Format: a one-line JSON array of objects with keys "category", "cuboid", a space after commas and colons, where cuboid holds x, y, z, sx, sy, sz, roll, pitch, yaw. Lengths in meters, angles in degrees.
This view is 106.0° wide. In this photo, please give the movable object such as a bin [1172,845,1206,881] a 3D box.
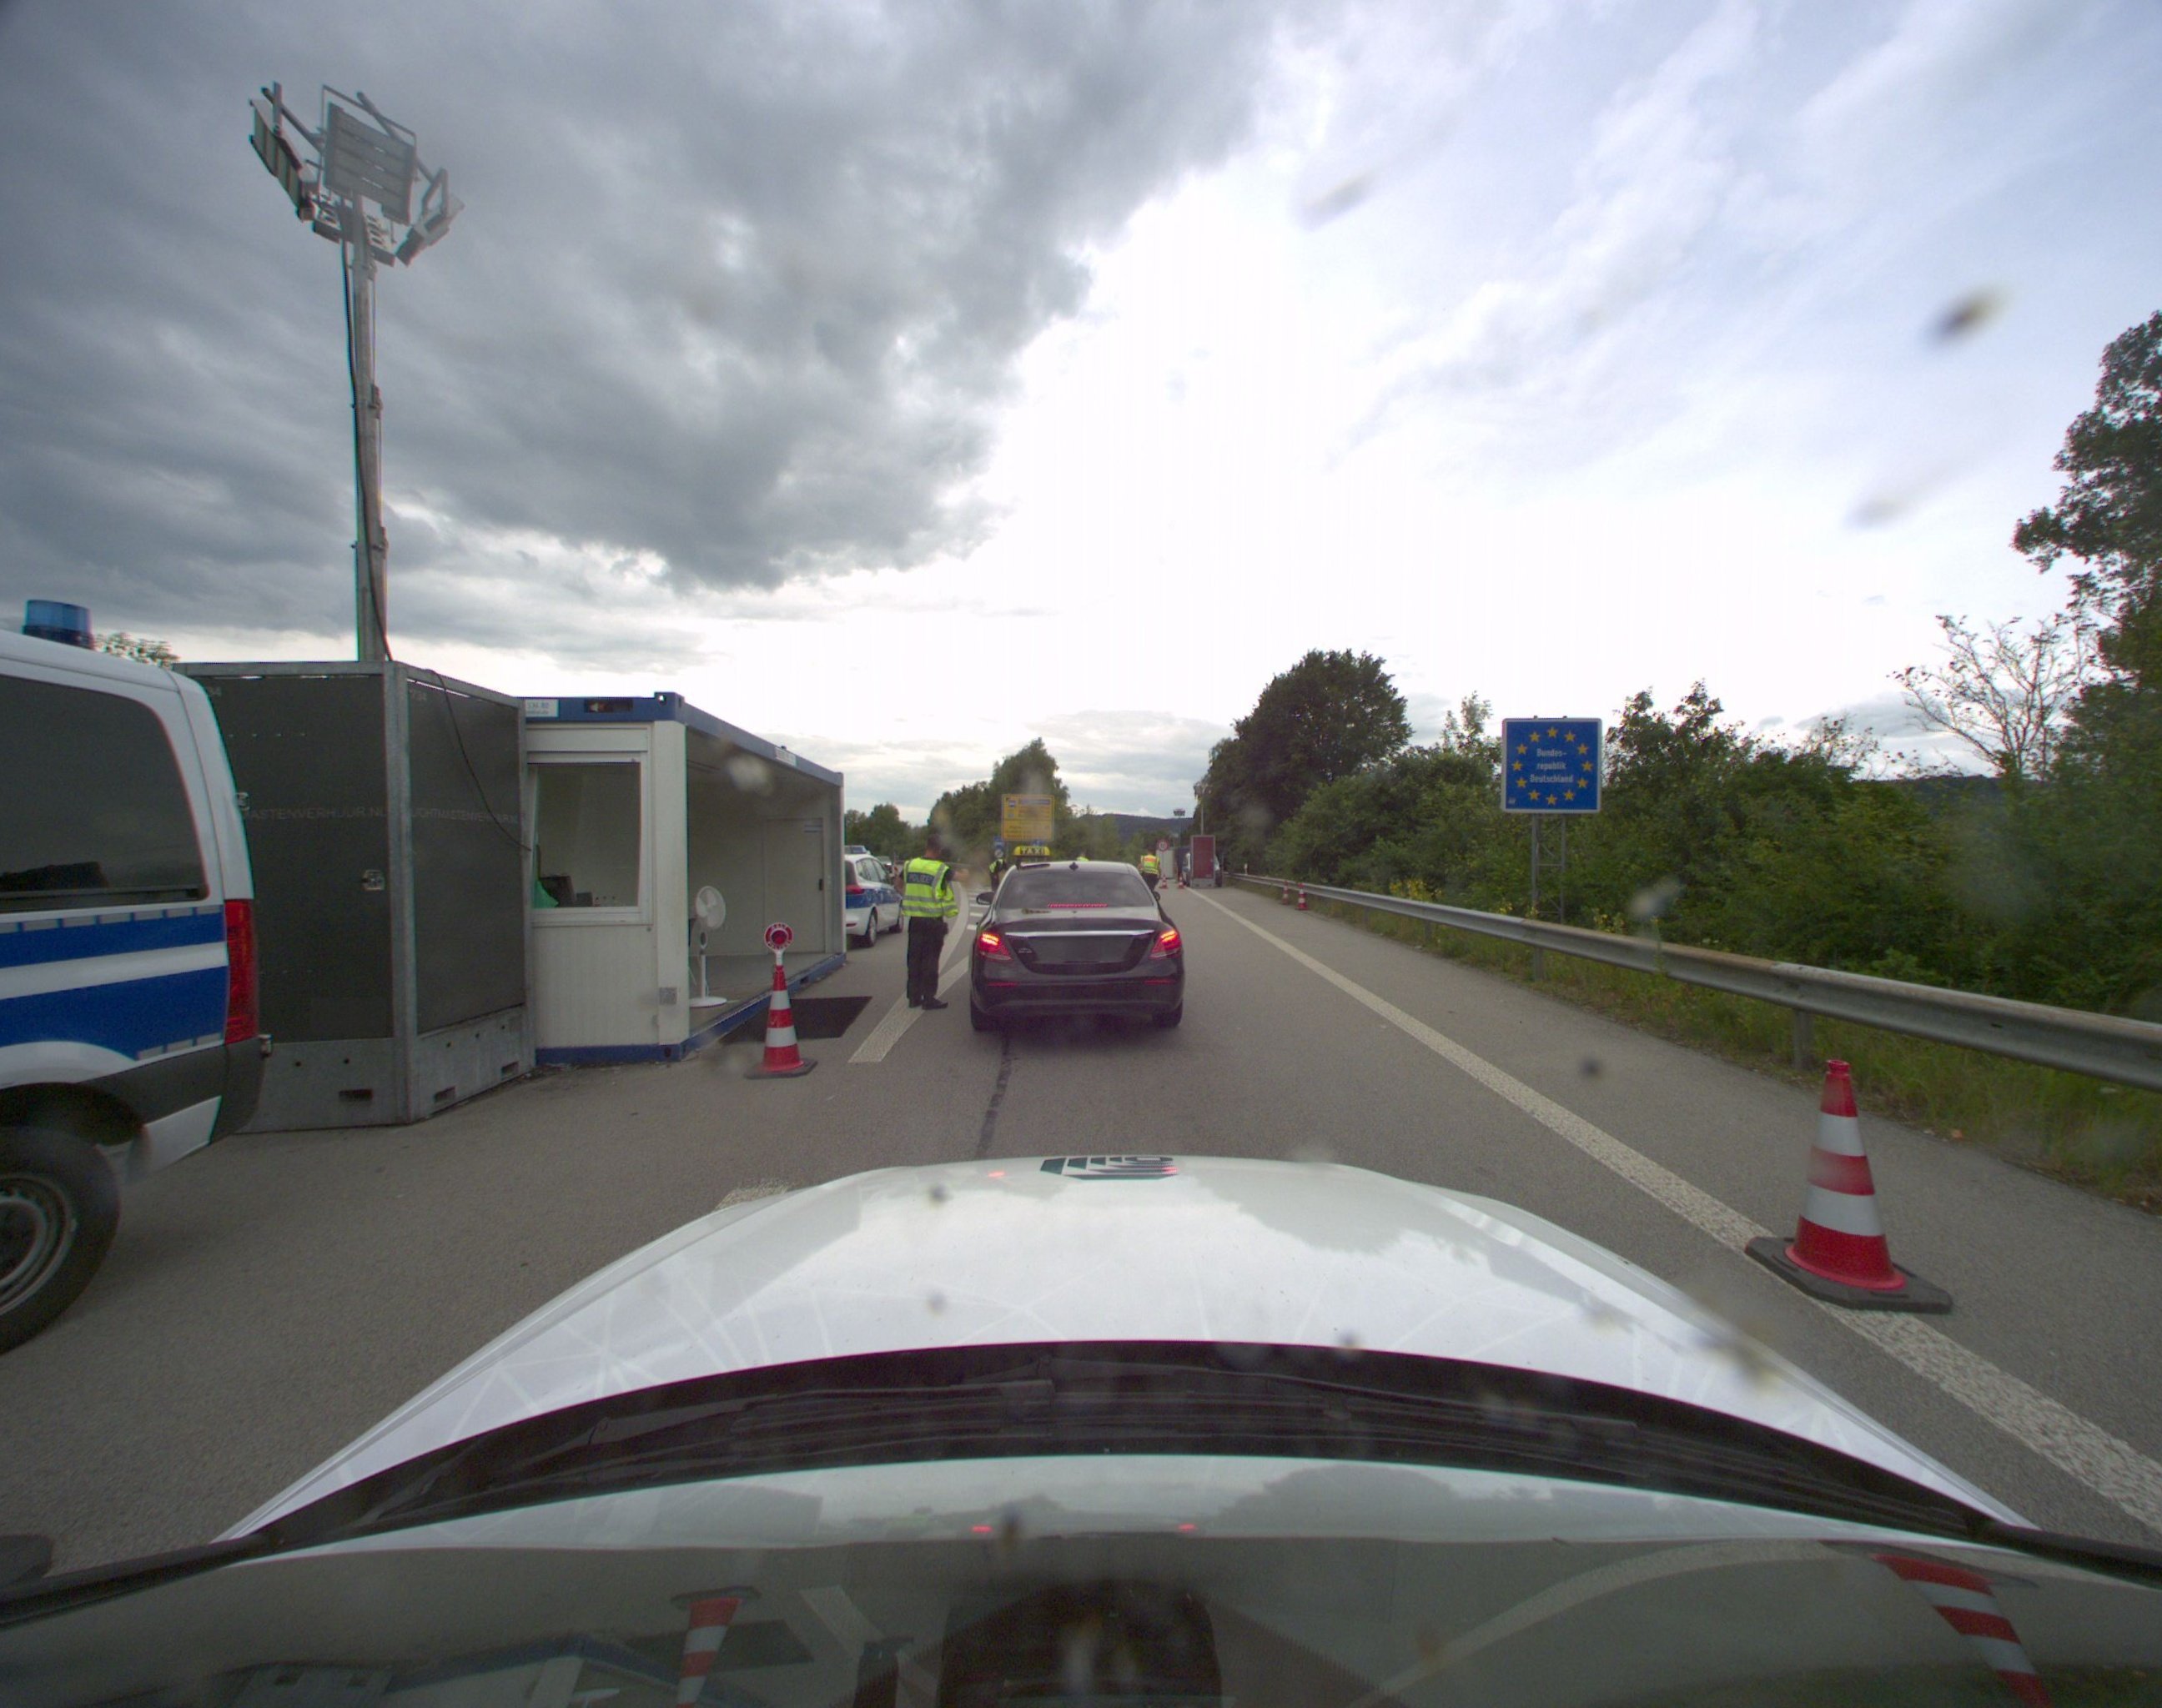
[{"category": "movable object such as a bin", "cuboid": [7.195, 0.582, 54.607, 1.984, 2.280, 4.172, -1, 0, 4]}]

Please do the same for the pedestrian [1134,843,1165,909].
[{"category": "pedestrian", "cuboid": [1.972, 0.622, 23.413, 0.808, 1.830, 0.811, -1, -1, 7]}]

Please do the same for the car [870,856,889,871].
[{"category": "car", "cuboid": [-20.356, 0.929, 82.154, 1.858, 1.498, 4.235, -1, 0, -14]}]

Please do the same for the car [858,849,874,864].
[{"category": "car", "cuboid": [-33.764, 0.387, 127.668, 1.863, 2.222, 4.225, -1, 0, -22]}]

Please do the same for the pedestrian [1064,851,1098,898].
[{"category": "pedestrian", "cuboid": [0.005, 0.730, 29.749, 0.914, 1.698, 0.905, 0, -1, -30]}]

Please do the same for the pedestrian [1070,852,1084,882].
[{"category": "pedestrian", "cuboid": [-0.279, 0.838, 54.287, 0.659, 1.961, 0.763, -1, -1, 17]}]

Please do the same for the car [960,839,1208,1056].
[{"category": "car", "cuboid": [-0.071, 0.698, 8.320, 1.851, 1.595, 4.371, -1, 0, -3]}]

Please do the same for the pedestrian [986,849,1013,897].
[{"category": "pedestrian", "cuboid": [-3.087, 0.721, 30.979, 0.908, 1.769, 0.911, -1, 0, -1]}]

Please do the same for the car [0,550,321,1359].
[{"category": "car", "cuboid": [-4.266, 0.310, 0.868, 2.023, 2.463, 5.276, -1, 0, -2]}]

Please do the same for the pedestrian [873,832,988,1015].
[{"category": "pedestrian", "cuboid": [-1.514, 0.653, 8.208, 0.752, 1.718, 0.823, -2, -1, 39]}]

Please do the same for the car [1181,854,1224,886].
[{"category": "car", "cuboid": [6.753, 0.859, 45.766, 1.908, 1.678, 5.087, 1, 0, 3]}]

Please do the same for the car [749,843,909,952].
[{"category": "car", "cuboid": [-4.532, 0.711, 15.295, 1.864, 1.743, 4.005, -1, 0, -2]}]

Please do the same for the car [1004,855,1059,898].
[{"category": "car", "cuboid": [-1.810, 0.808, 30.949, 1.850, 1.498, 4.255, -1, 0, -1]}]

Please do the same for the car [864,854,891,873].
[{"category": "car", "cuboid": [-16.613, 0.760, 66.562, 1.856, 1.498, 4.240, -1, 0, -11]}]
